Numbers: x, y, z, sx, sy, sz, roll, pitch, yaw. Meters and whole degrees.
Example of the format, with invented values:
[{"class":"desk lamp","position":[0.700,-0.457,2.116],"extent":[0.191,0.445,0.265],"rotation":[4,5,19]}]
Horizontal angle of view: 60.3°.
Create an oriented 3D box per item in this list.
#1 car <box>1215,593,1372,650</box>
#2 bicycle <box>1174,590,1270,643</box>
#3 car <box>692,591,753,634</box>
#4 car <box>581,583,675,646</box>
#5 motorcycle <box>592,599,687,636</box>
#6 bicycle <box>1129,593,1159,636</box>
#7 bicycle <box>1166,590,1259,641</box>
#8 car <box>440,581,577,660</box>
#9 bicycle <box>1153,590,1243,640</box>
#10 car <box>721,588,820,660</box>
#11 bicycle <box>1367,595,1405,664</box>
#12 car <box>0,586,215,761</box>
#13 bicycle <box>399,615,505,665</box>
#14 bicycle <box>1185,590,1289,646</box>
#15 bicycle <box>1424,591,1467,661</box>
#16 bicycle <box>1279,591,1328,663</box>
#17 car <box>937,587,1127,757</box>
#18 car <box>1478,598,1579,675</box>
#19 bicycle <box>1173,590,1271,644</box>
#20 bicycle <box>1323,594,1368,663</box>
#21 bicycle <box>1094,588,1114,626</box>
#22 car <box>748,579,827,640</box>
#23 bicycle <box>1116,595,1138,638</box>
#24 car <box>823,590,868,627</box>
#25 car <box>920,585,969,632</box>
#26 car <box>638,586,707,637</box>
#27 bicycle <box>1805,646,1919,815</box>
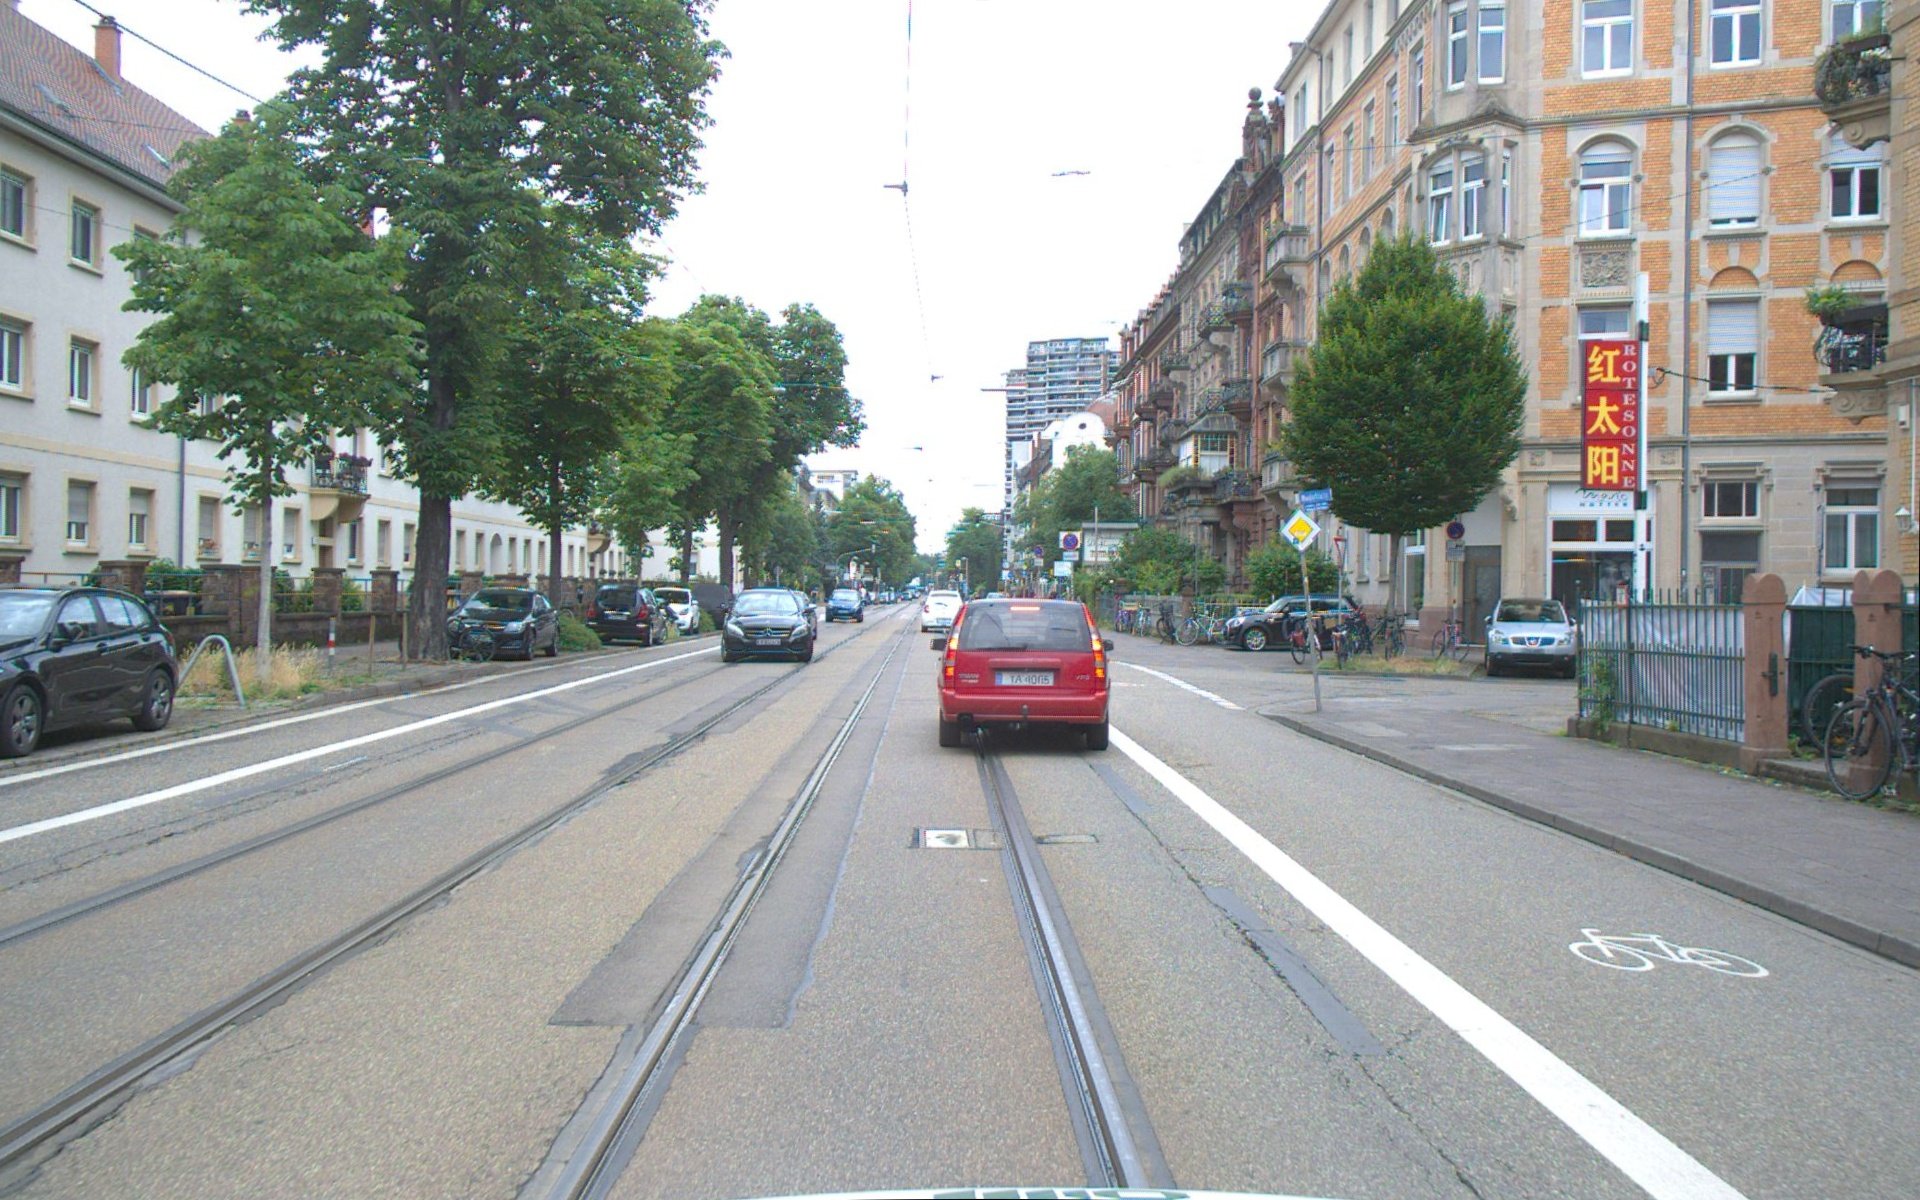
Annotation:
[{"class":"car","position":[8.619,0.529,43.054],"extent":[3.902,1.385,1.894],"rotation":[1,0,9]},{"class":"bicycle","position":[8.561,0.521,54.181],"extent":[2.916,1.653,1.049],"rotation":[1,0,-3]},{"class":"car","position":[-8.673,0.433,60.703],"extent":[1.685,1.512,3.999],"rotation":[1,0,-1]},{"class":"car","position":[-9.017,0.369,45.166],"extent":[1.813,1.590,3.942],"rotation":[1,0,-1]},{"class":"motorcycle","position":[-9.948,0.538,51.435],"extent":[2.816,1.095,1.098],"rotation":[1,0,-8]},{"class":"bicycle","position":[5.852,0.452,52.631],"extent":[0.694,1.323,1.904],"rotation":[1,0,-1]},{"class":"bicycle","position":[8.521,0.511,55.917],"extent":[2.916,1.653,1.049],"rotation":[1,0,-3]},{"class":"car","position":[-9.273,0.393,34.273],"extent":[1.682,1.508,4.000],"rotation":[1,0,0]},{"class":"bicycle","position":[8.224,0.498,57.157],"extent":[2.916,1.653,1.049],"rotation":[1,0,-3]},{"class":"car","position":[-3.934,0.470,34.807],"extent":[1.720,1.404,4.025],"rotation":[1,0,-2]},{"class":"bicycle","position":[9.954,0.666,38.621],"extent":[0.773,1.533,2.382],"rotation":[1,0,16]},{"class":"car","position":[-8.876,0.597,15.406],"extent":[1.851,1.422,4.416],"rotation":[1,0,0]},{"class":"bicycle","position":[-9.299,0.721,30.309],"extent":[1.713,0.858,0.684],"rotation":[1,0,0]},{"class":"bicycle","position":[8.421,0.539,50.355],"extent":[2.916,1.653,1.049],"rotation":[1,0,-3]},{"class":"bicycle","position":[11.084,0.577,37.816],"extent":[0.898,1.533,2.382],"rotation":[1,0,16]},{"class":"bicycle","position":[7.711,0.592,37.065],"extent":[0.898,1.533,2.382],"rotation":[1,0,16]},{"class":"car","position":[0.628,0.636,16.810],"extent":[1.655,1.466,3.742],"rotation":[2,1,-1]},{"class":"car","position":[12.085,0.733,35.383],"extent":[1.870,1.510,4.172],"rotation":[1,0,17]},{"class":"bicycle","position":[8.333,0.542,52.700],"extent":[2.916,1.653,1.049],"rotation":[1,0,-3]},{"class":"bicycle","position":[8.999,0.645,38.516],"extent":[0.898,1.533,2.382],"rotation":[1,0,16]},{"class":"bicycle","position":[5.760,0.254,66.331],"extent":[0.544,1.483,2.985],"rotation":[1,0,0]},{"class":"car","position":[-4.902,0.254,47.469],"extent":[1.855,1.639,4.499],"rotation":[1,0,-1]},{"class":"bicycle","position":[5.696,0.564,56.353],"extent":[0.540,1.424,1.733],"rotation":[1,0,-1]},{"class":"car","position":[-5.361,0.398,77.951],"extent":[1.855,1.639,4.499],"rotation":[2,0,-1]},{"class":"car","position":[-0.533,0.291,61.451],"extent":[1.683,1.653,3.941],"rotation":[1,0,1]},{"class":"car","position":[-9.769,0.371,56.444],"extent":[1.678,1.608,3.999],"rotation":[2,0,-1]},{"class":"bicycle","position":[6.530,0.878,11.112],"extent":[0.512,1.048,2.176],"rotation":[-2,0,-1]}]
